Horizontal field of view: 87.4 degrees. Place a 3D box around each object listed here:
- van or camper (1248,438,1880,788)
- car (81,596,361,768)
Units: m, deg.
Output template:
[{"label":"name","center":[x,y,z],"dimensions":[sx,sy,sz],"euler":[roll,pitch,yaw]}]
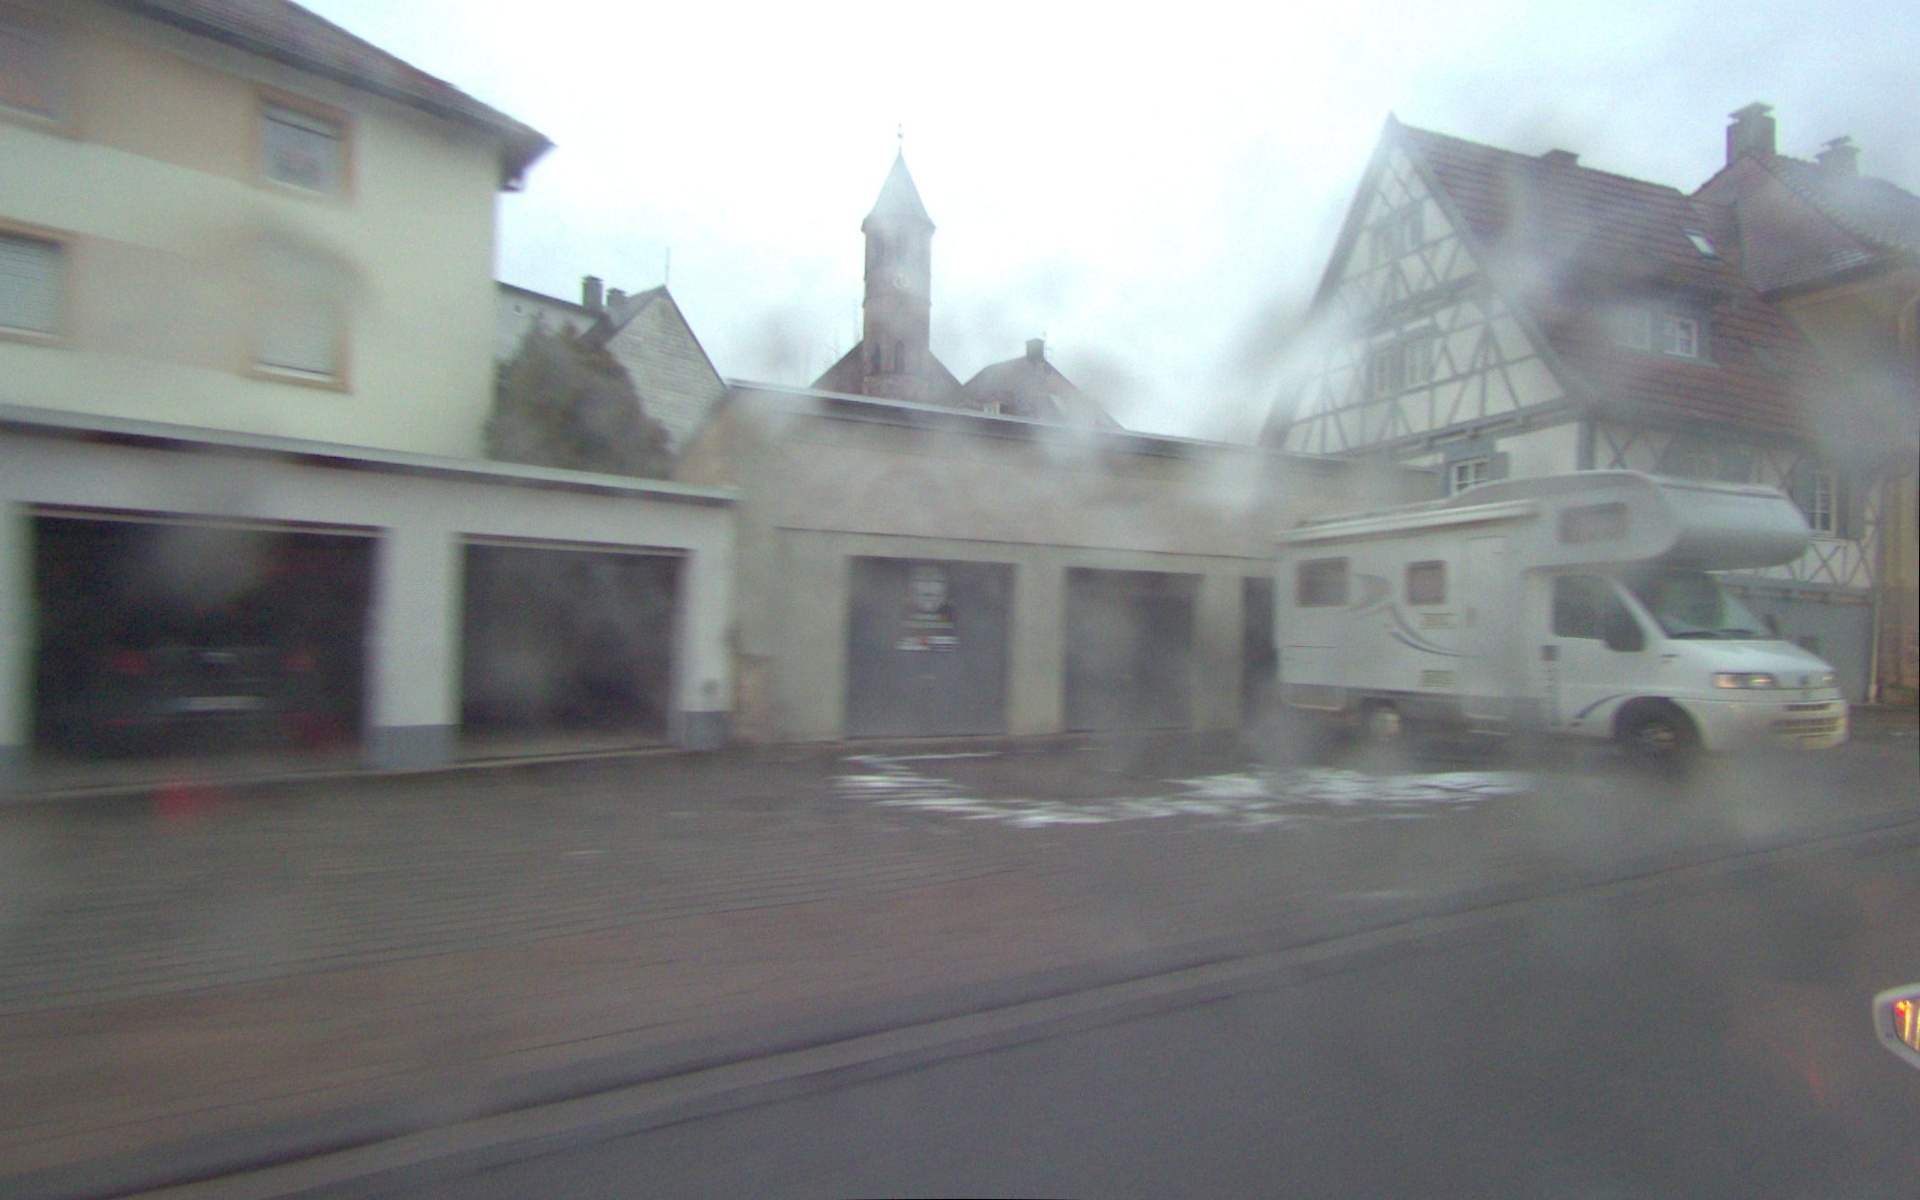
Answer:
[{"label":"van or camper","center":[6.376,0.311,11.832],"dimensions":[2.373,2.993,6.047],"euler":[1,-4,-24]},{"label":"car","center":[-7.670,0.714,10.495],"dimensions":[1.982,1.421,3.957],"euler":[1,-1,-37]}]
